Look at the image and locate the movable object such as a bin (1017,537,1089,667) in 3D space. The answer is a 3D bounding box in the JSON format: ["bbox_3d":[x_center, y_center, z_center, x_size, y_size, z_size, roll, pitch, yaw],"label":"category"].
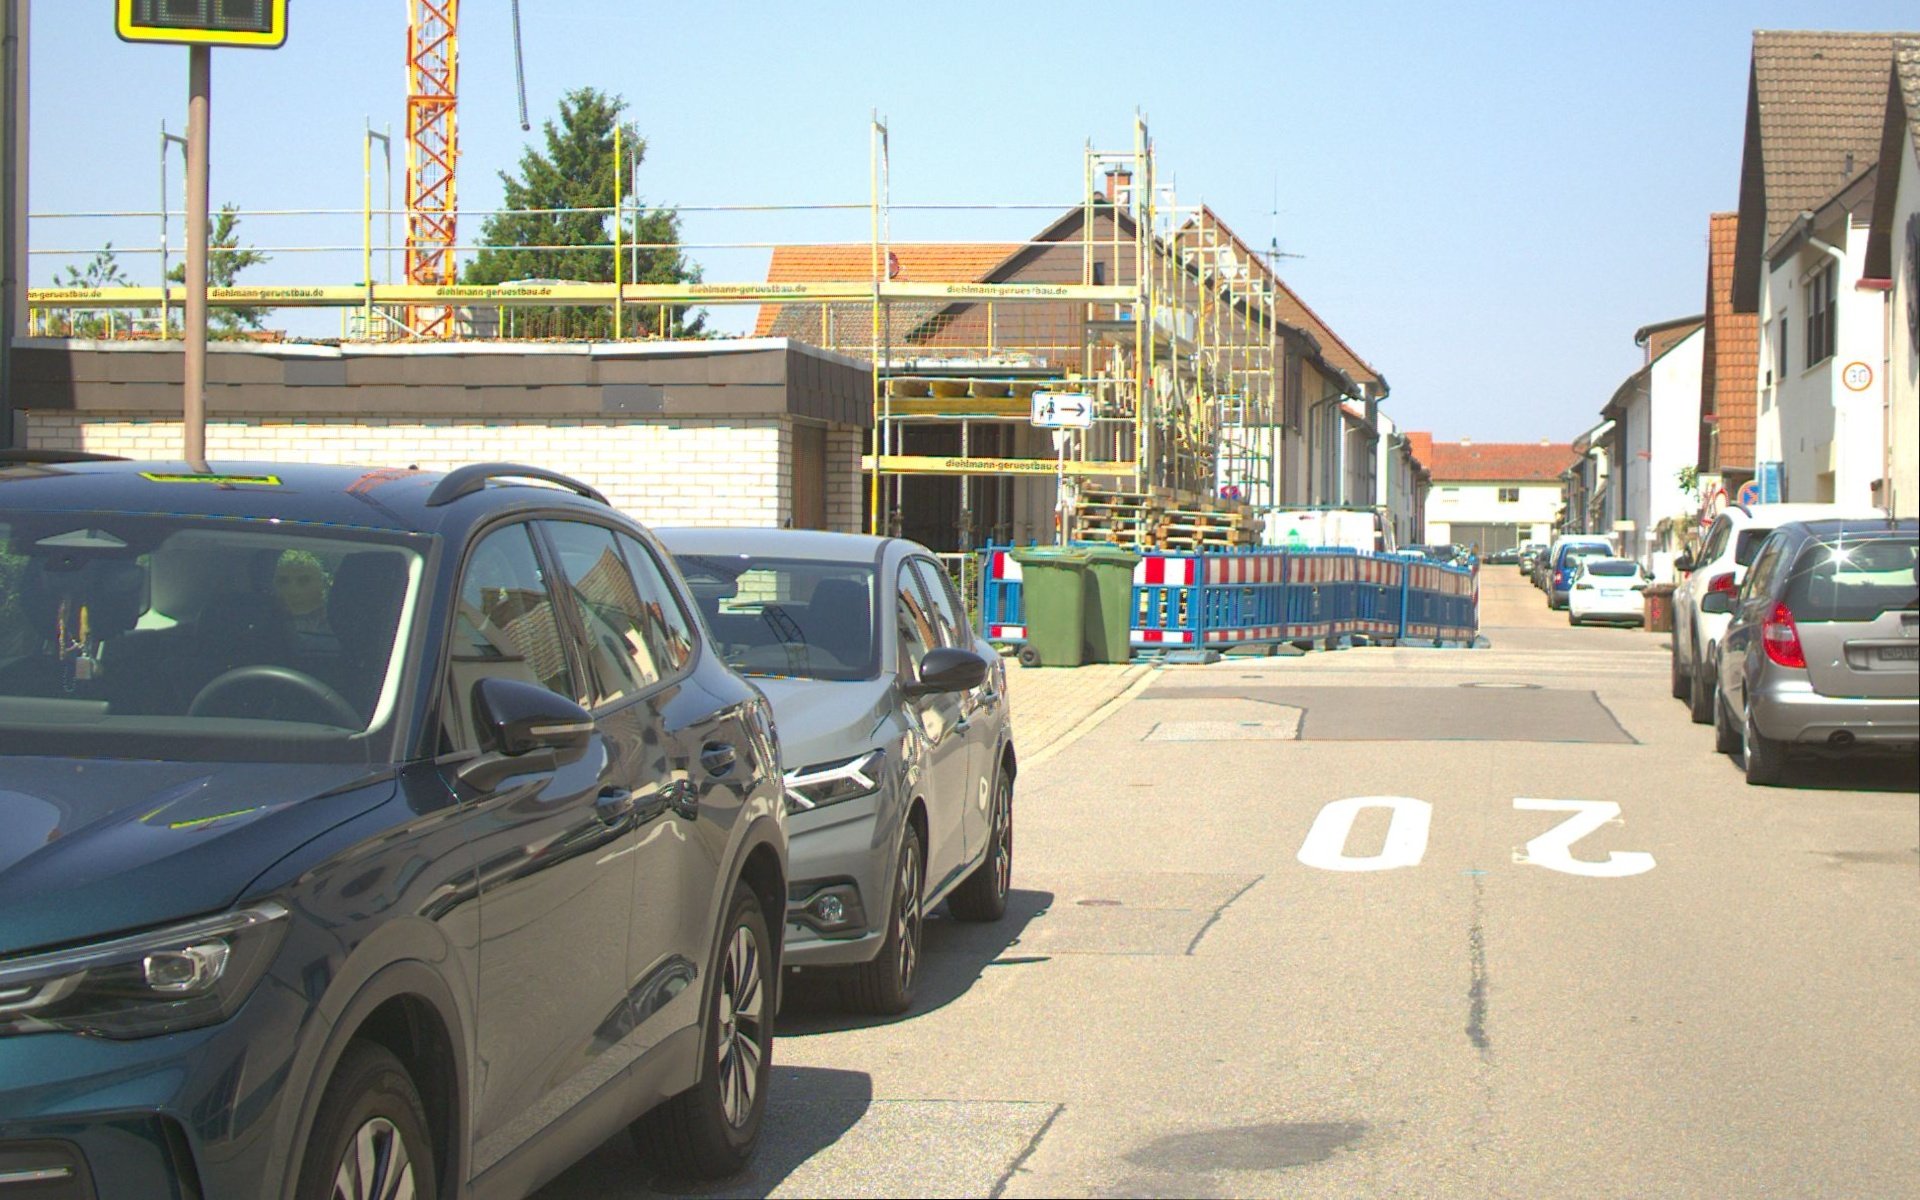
[{"bbox_3d":[0.844,0.011,31.132,0.621,1.151,0.677,1,1,2],"label":"movable object such as a bin"}]

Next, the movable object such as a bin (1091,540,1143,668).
[{"bbox_3d":[1.441,0.035,31.534,0.431,1.151,0.364,1,1,-1],"label":"movable object such as a bin"}]

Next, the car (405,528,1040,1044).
[{"bbox_3d":[-0.657,0.523,11.892,1.437,1.469,3.785,1,0,8],"label":"car"}]

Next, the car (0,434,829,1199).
[{"bbox_3d":[-1.593,0.558,6.614,1.827,1.625,4.215,1,1,10],"label":"car"}]

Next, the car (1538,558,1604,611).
[{"bbox_3d":[16.578,-0.437,93.390,1.555,1.382,3.449,1,1,7],"label":"car"}]

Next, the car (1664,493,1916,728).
[{"bbox_3d":[6.410,0.021,26.845,1.564,1.607,3.542,1,3,9],"label":"car"}]

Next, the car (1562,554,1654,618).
[{"bbox_3d":[14.749,-0.339,78.369,1.968,1.382,3.998,1,1,10],"label":"car"}]

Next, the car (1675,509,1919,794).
[{"bbox_3d":[5.681,0.259,21.716,1.885,1.550,3.894,2,3,7],"label":"car"}]
